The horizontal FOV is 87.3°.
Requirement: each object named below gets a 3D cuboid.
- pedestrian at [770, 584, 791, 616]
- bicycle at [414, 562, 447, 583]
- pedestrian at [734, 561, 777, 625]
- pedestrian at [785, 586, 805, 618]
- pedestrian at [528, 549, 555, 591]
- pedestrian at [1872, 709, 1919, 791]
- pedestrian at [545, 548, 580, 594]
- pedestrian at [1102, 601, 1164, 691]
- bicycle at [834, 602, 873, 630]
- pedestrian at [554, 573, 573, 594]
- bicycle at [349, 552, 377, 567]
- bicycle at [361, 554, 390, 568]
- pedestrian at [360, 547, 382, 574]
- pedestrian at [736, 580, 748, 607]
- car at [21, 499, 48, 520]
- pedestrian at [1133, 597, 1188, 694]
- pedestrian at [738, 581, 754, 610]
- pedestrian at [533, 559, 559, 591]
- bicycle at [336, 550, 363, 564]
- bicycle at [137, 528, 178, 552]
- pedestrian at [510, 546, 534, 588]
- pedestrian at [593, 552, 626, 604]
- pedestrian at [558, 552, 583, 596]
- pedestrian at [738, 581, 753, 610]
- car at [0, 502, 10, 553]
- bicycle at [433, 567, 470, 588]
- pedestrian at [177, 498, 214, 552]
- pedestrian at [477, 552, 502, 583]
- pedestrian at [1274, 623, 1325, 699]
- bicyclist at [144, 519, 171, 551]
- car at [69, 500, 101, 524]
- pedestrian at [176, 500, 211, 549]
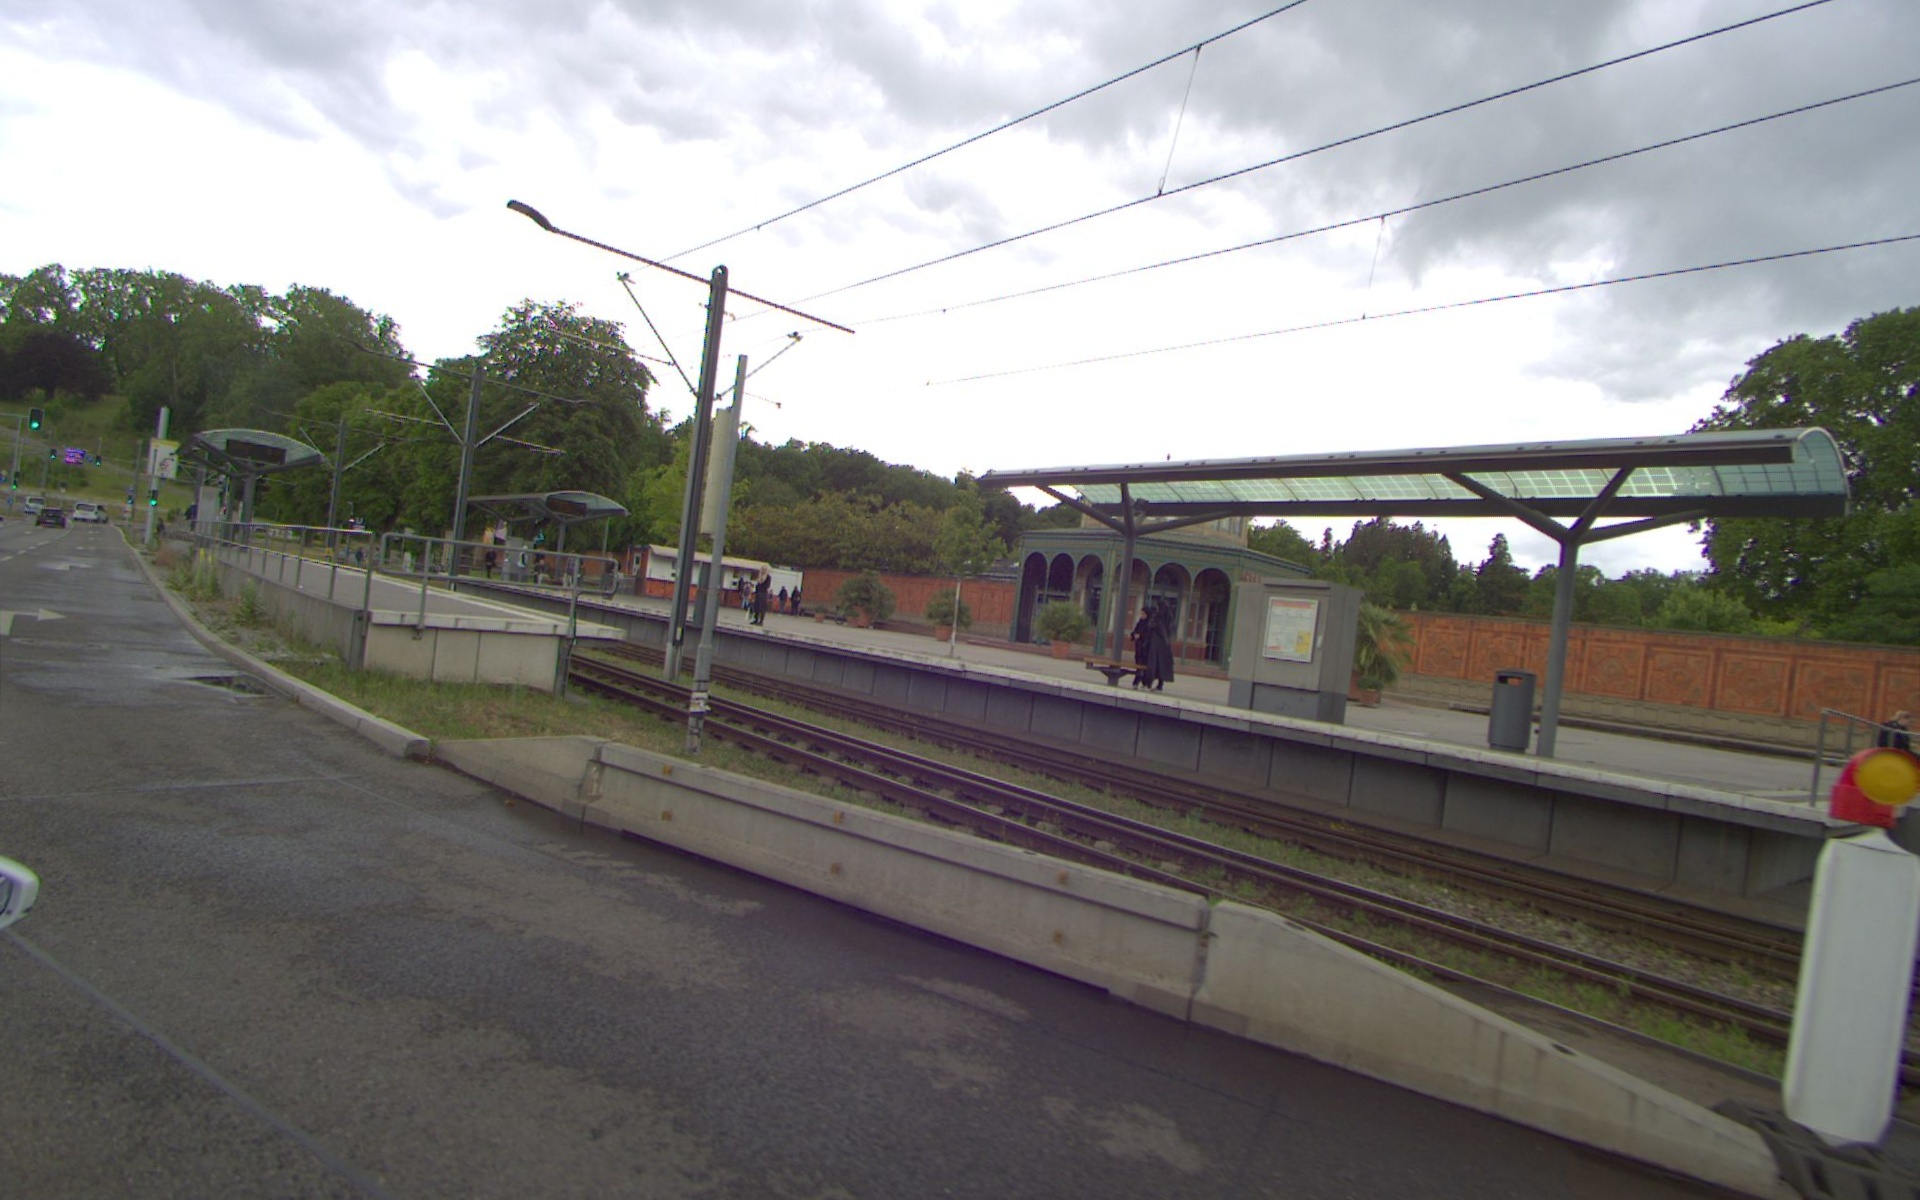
[{"bbox_3d":[-9.590,-0.013,53.808,0.613,1.600,0.655,7,-2,36],"label":"pedestrian"},{"bbox_3d":[-34.887,-1.803,66.270,1.758,1.045,0.478,11,-3,-40],"label":"bicycle"},{"bbox_3d":[-5.873,-0.201,28.873,0.631,1.706,0.856,10,-3,-41],"label":"pedestrian"},{"bbox_3d":[-8.899,0.129,54.111,0.613,1.600,0.584,7,-2,37],"label":"pedestrian"},{"bbox_3d":[-18.236,-1.311,43.847,0.672,1.695,0.668,10,-3,-44],"label":"pedestrian"},{"bbox_3d":[15.304,2.436,16.320,0.660,1.214,0.547,6,-3,43],"label":"pedestrian"},{"bbox_3d":[-16.044,-1.162,40.615,0.750,1.695,0.860,7,-3,39],"label":"pedestrian"},{"bbox_3d":[3.270,0.872,18.973,0.773,1.558,0.761,7,-2,27],"label":"pedestrian"},{"bbox_3d":[-5.225,0.781,49.183,1.683,1.073,0.565,8,-2,19],"label":"bicycle"},{"bbox_3d":[-16.049,-0.666,40.677,0.558,0.748,0.421,10,-3,-31],"label":"pedestrian"},{"bbox_3d":[-50.064,-3.422,84.379,1.904,0.987,0.525,7,0,-41],"label":"bicycle"},{"bbox_3d":[-47.654,-3.180,81.975,1.904,0.906,0.525,7,0,-41],"label":"bicycle"},{"bbox_3d":[-38.514,-2.582,65.767,0.765,1.629,0.834,6,0,27],"label":"pedestrian"},{"bbox_3d":[-12.368,-0.380,57.137,0.340,1.503,0.312,10,-2,-38],"label":"pedestrian"},{"bbox_3d":[-96.034,-9.381,104.362,1.750,1.791,3.950,11,-4,-45],"label":"car"},{"bbox_3d":[3.638,0.818,18.292,0.483,1.678,0.623,9,-2,-32],"label":"pedestrian"},{"bbox_3d":[-11.879,-0.247,55.843,0.483,1.503,0.455,10,-2,-38],"label":"pedestrian"},{"bbox_3d":[-16.738,-1.016,40.670,0.655,1.204,0.668,10,-3,-39],"label":"pedestrian"},{"bbox_3d":[-53.163,-3.771,87.644,1.904,0.987,0.525,7,0,-41],"label":"bicycle"},{"bbox_3d":[-44.058,-3.305,55.222,0.608,1.087,1.685,8,0,10],"label":"bicycle"},{"bbox_3d":[-18.985,-1.436,43.632,0.543,1.695,0.667,10,-3,-44],"label":"pedestrian"},{"bbox_3d":[-13.229,-0.841,37.977,0.630,1.858,0.940,10,-3,-39],"label":"pedestrian"},{"bbox_3d":[-15.382,-1.041,39.722,0.522,1.638,0.668,10,-3,-39],"label":"pedestrian"},{"bbox_3d":[-12.014,-0.261,56.384,0.483,1.552,0.455,10,-2,-38],"label":"pedestrian"},{"bbox_3d":[-30.291,-2.352,30.402,1.832,1.600,4.018,10,-3,-39],"label":"car"},{"bbox_3d":[-31.683,-1.400,62.698,1.868,0.973,0.527,11,-4,-40],"label":"bicycle"},{"bbox_3d":[-26.354,-2.592,34.682,0.768,1.719,0.723,10,-1,-39],"label":"pedestrian"},{"bbox_3d":[-22.476,-1.555,48.071,0.672,1.338,0.957,10,-3,-41],"label":"pedestrian"},{"bbox_3d":[8.956,1.602,26.548,0.939,1.858,0.547,6,-3,43],"label":"pedestrian"},{"bbox_3d":[-44.020,-3.545,55.202,0.606,1.591,0.806,8,0,10],"label":"bicyclist"},{"bbox_3d":[-87.766,-8.810,100.947,2.194,2.037,5.092,9,-2,-41],"label":"car"},{"bbox_3d":[-26.870,-2.658,35.267,0.748,1.571,0.766,10,-1,-39],"label":"pedestrian"}]
